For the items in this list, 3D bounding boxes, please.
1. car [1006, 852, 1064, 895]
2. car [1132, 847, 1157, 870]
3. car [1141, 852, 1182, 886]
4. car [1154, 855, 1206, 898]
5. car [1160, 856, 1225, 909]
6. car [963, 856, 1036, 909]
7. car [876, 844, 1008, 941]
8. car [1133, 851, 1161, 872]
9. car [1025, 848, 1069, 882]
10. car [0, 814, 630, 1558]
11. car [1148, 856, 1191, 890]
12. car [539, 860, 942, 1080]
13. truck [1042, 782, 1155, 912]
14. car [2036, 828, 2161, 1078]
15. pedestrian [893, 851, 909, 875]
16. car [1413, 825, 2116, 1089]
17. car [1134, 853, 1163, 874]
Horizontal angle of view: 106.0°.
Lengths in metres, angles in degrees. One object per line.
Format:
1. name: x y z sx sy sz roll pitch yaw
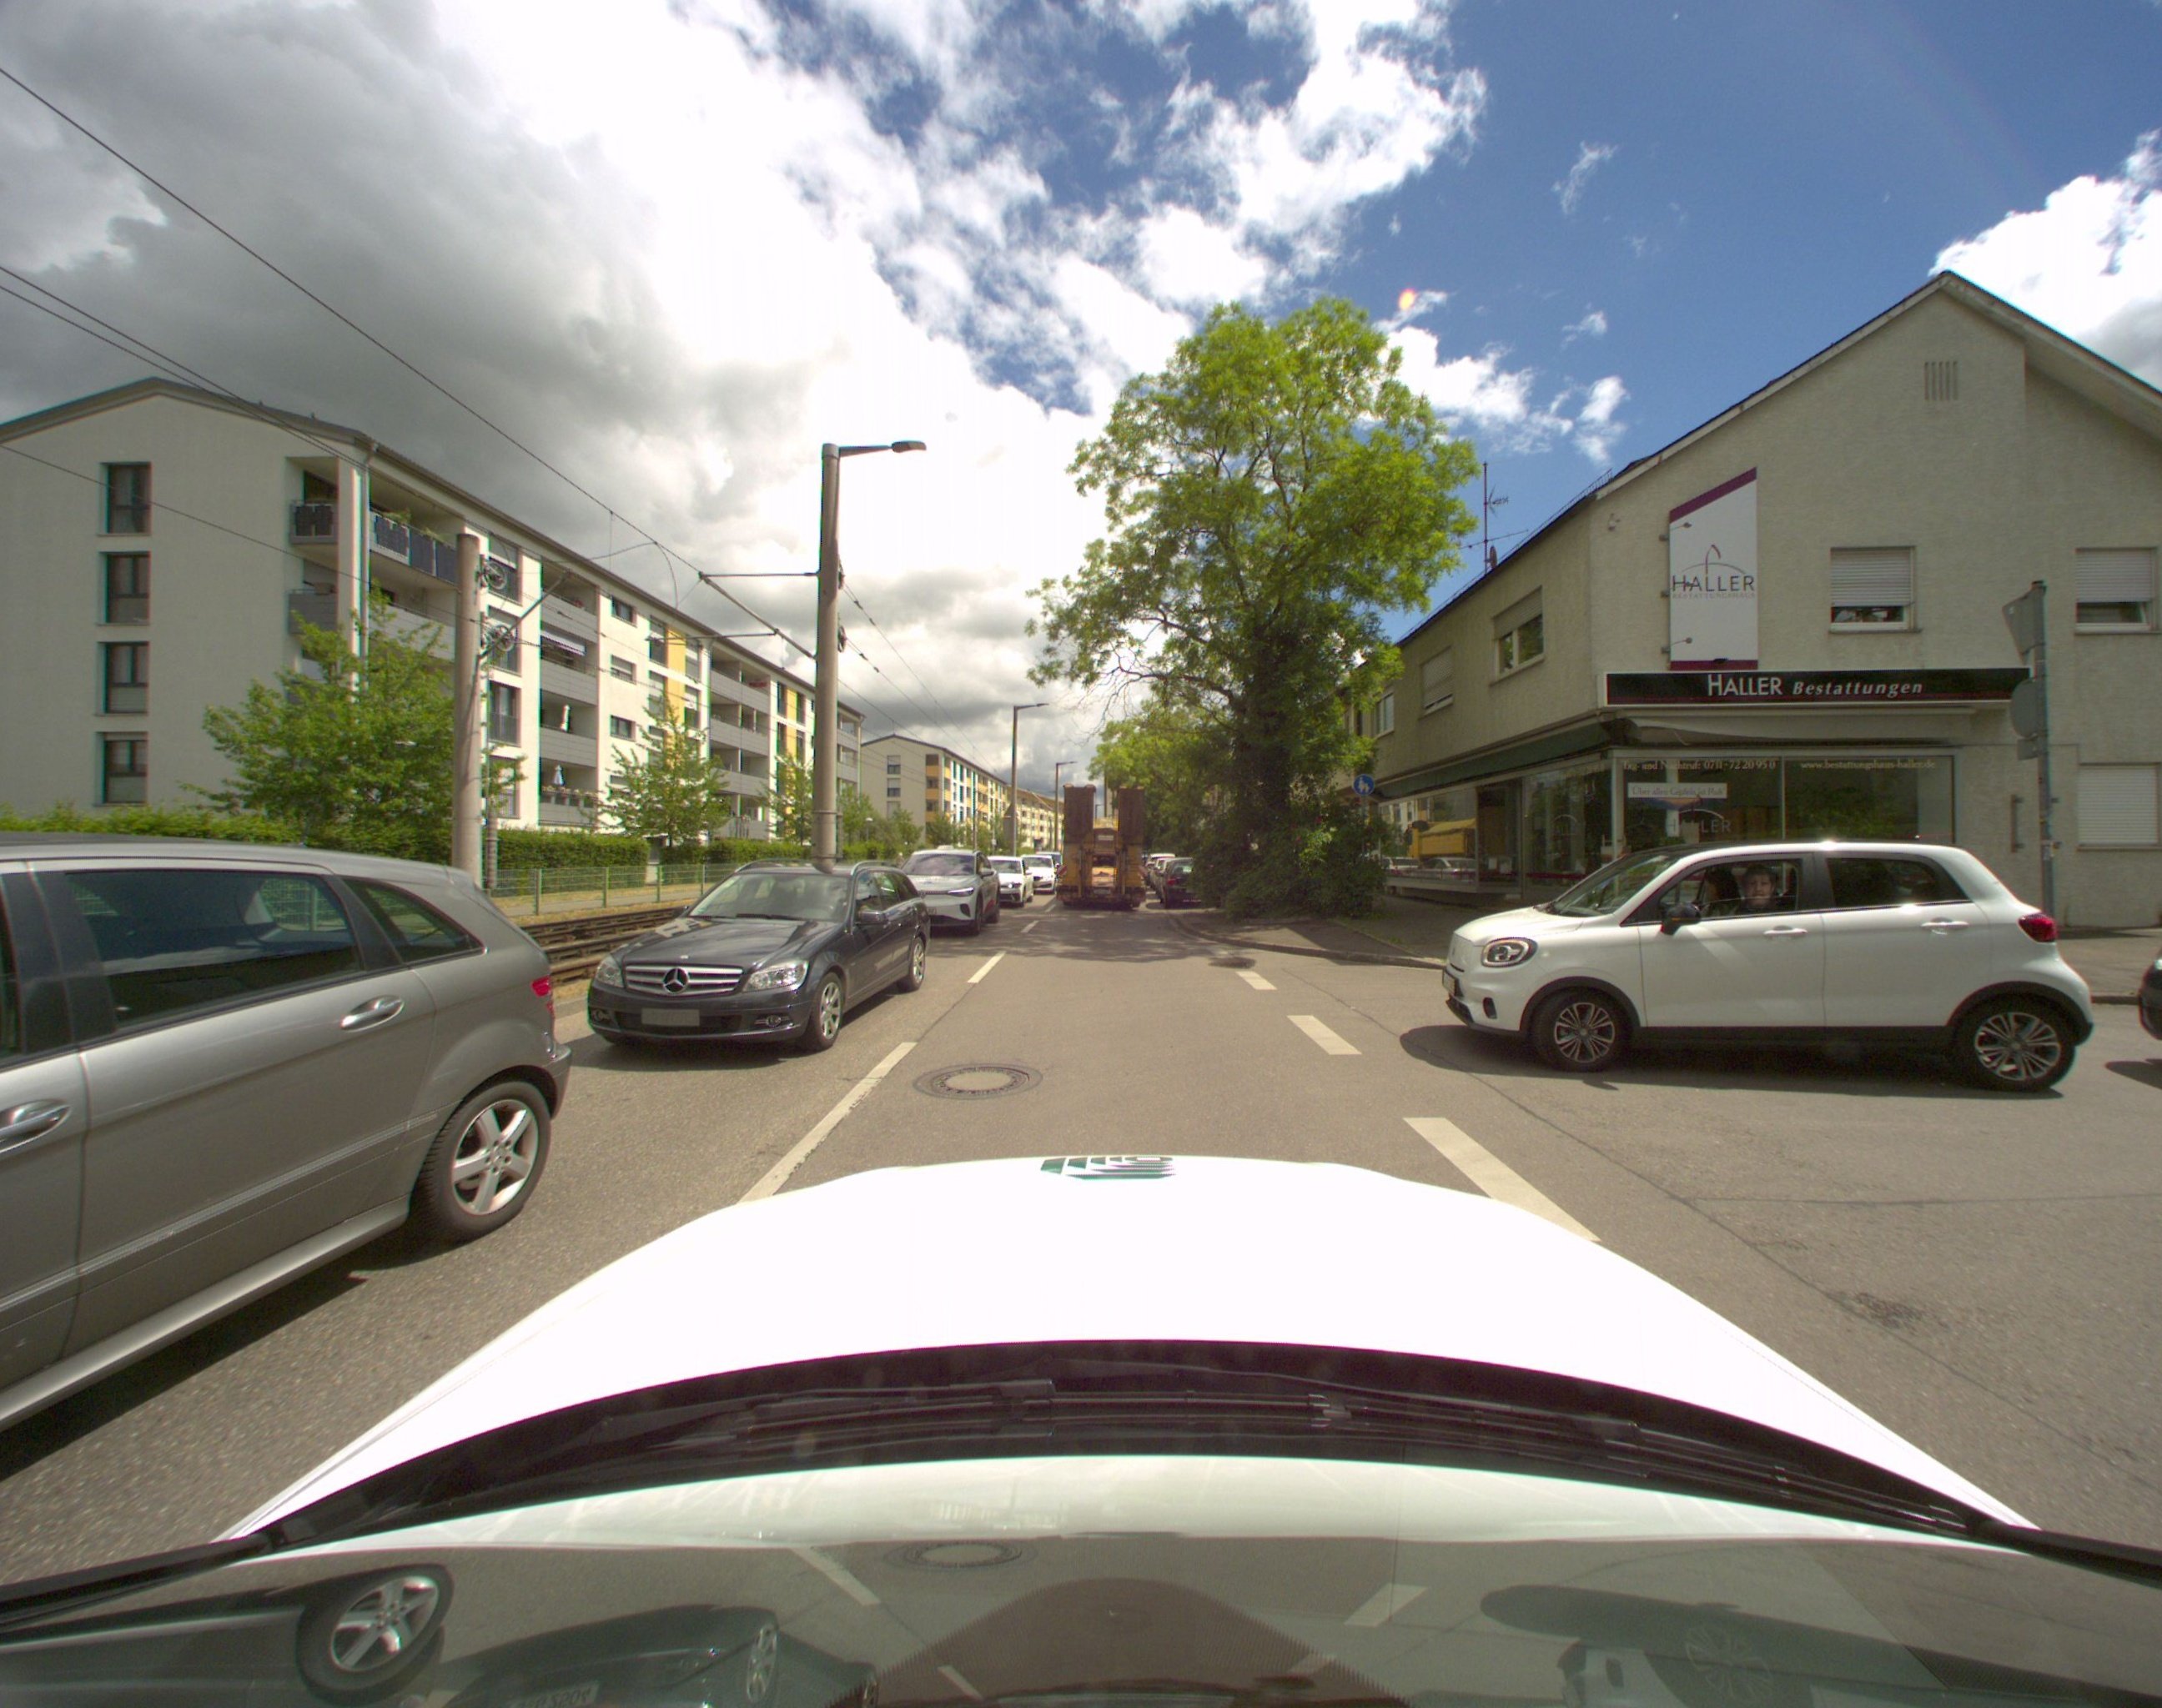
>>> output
1. car: -1.735 0.708 32.257 1.810 1.502 4.839 2 0 2
2. car: 5.252 0.370 67.303 2.006 1.788 5.082 0 0 4
3. car: 4.152 0.718 42.512 1.830 1.643 4.432 1 0 2
4. car: 3.751 0.806 31.429 1.805 1.498 4.917 0 0 5
5. car: 3.395 0.826 25.413 1.805 1.463 4.046 0 0 5
6. car: -2.368 0.794 24.527 1.740 1.406 3.940 0 0 1
7. car: -2.653 0.673 16.558 1.851 1.690 4.434 0 0 1
8. car: 4.893 0.567 60.695 1.765 1.442 3.900 -2 0 1
9. car: -1.669 0.518 41.632 1.810 1.613 4.605 2 0 3
10. car: -3.320 0.734 2.006 1.849 1.660 4.180 0 0 4
11. car: 3.989 0.816 37.374 1.717 1.426 4.450 0 0 3
12. car: -2.731 0.807 7.834 1.803 1.445 4.468 0 0 3
13. truck: 0.777 -0.229 28.857 3.111 3.564 12.468 1 0 3
14. car: 8.512 0.575 4.591 3.607 1.571 1.850 -2 0 18
15. pedestrian: -11.725 0.576 53.086 0.793 1.483 0.996 1 0 2
16. car: 4.605 0.658 6.167 3.611 1.571 1.849 -2 0 14
17. car: 4.633 0.626 55.403 1.762 1.349 4.007 -2 0 7
